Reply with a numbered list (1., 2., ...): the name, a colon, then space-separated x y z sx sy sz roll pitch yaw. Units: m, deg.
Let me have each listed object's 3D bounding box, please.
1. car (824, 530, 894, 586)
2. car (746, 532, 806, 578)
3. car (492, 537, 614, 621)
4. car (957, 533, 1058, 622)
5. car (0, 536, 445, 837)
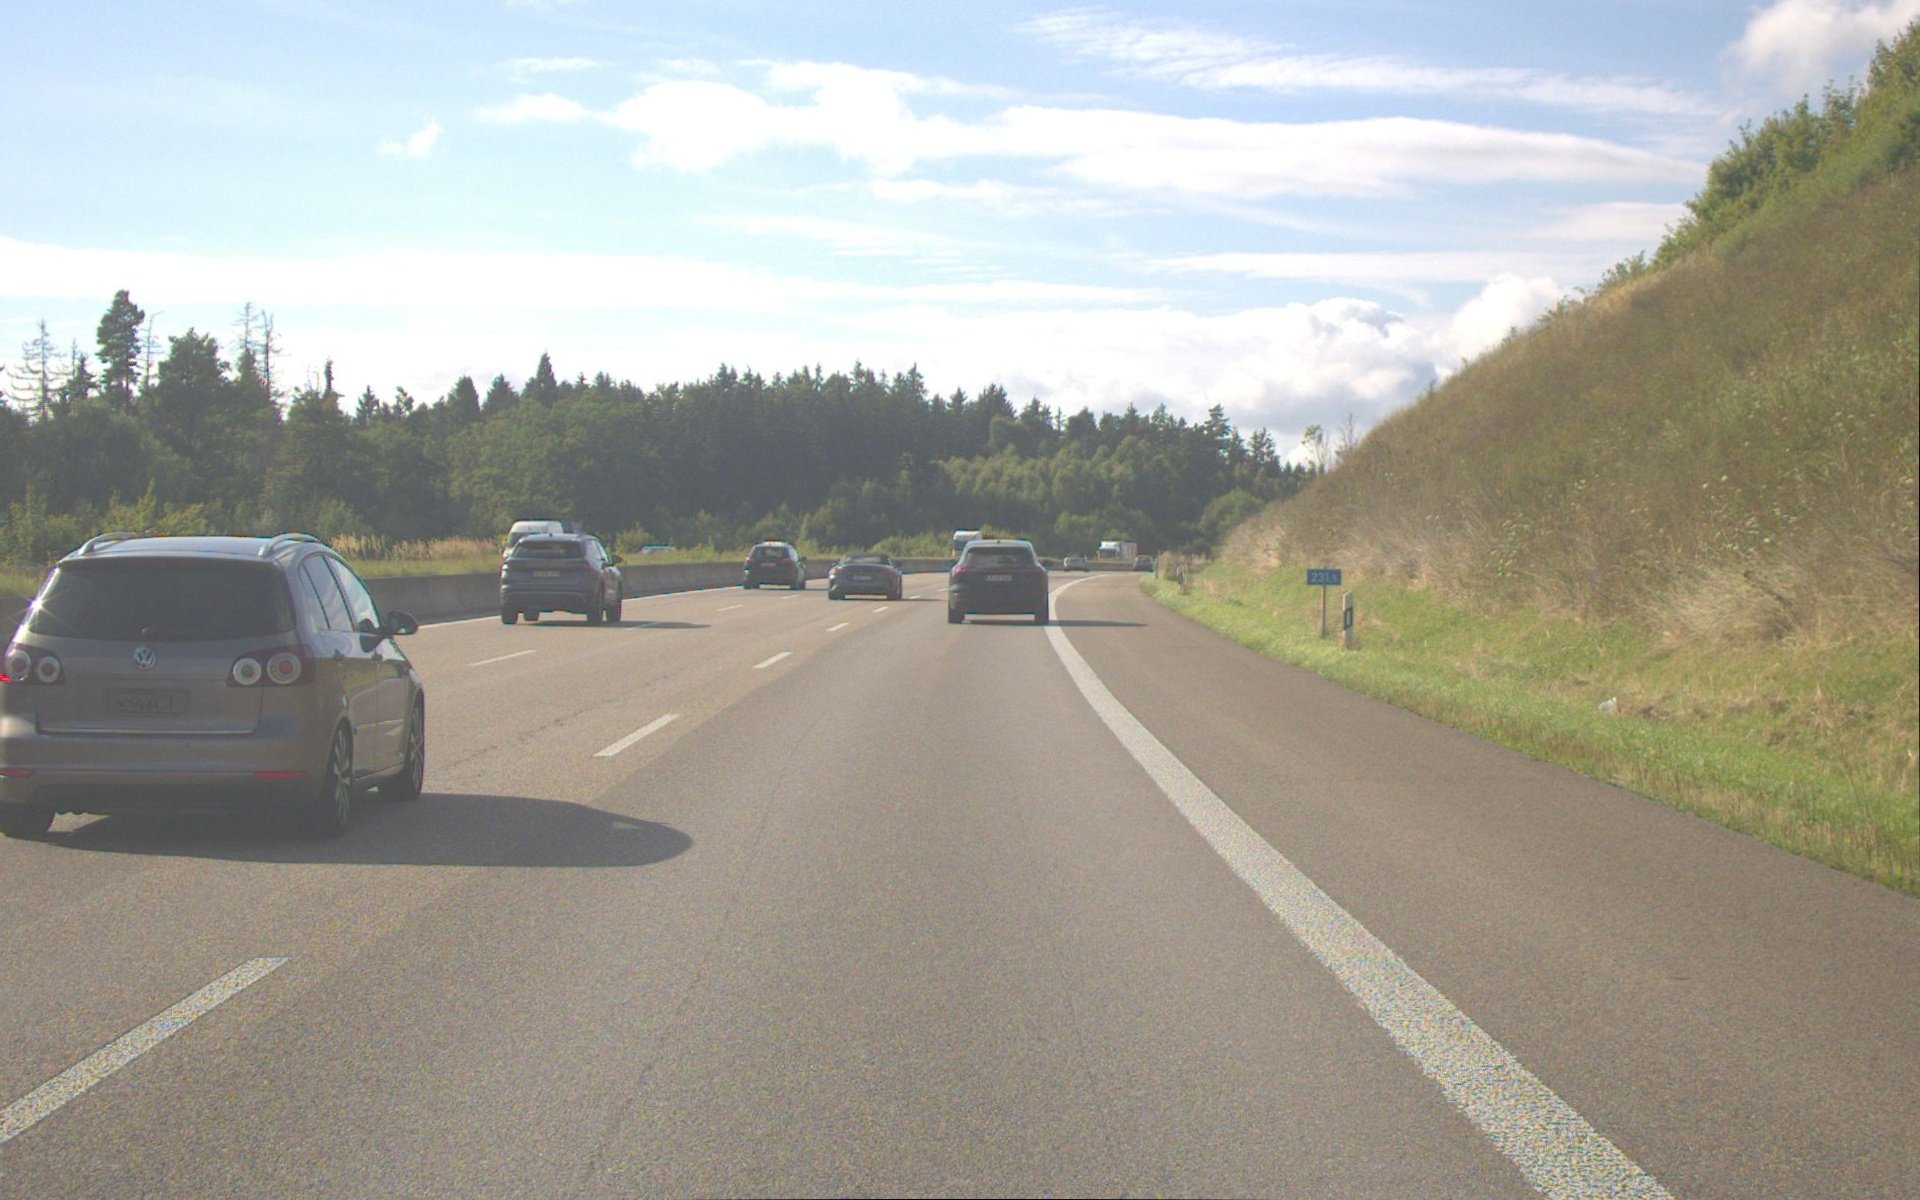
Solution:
1. car: -2.758 -1.171 94.144 1.873 1.492 3.880 0 1 -1
2. car: -6.048 -1.489 113.429 1.873 1.492 3.880 0 1 -1
3. car: -7.493 -0.417 63.576 1.873 1.492 3.880 0 1 -1
4. car: 0.892 -0.465 67.074 1.873 1.669 3.890 0 1 0
5. car: -4.037 0.399 19.051 1.873 1.492 3.880 0 1 -1
